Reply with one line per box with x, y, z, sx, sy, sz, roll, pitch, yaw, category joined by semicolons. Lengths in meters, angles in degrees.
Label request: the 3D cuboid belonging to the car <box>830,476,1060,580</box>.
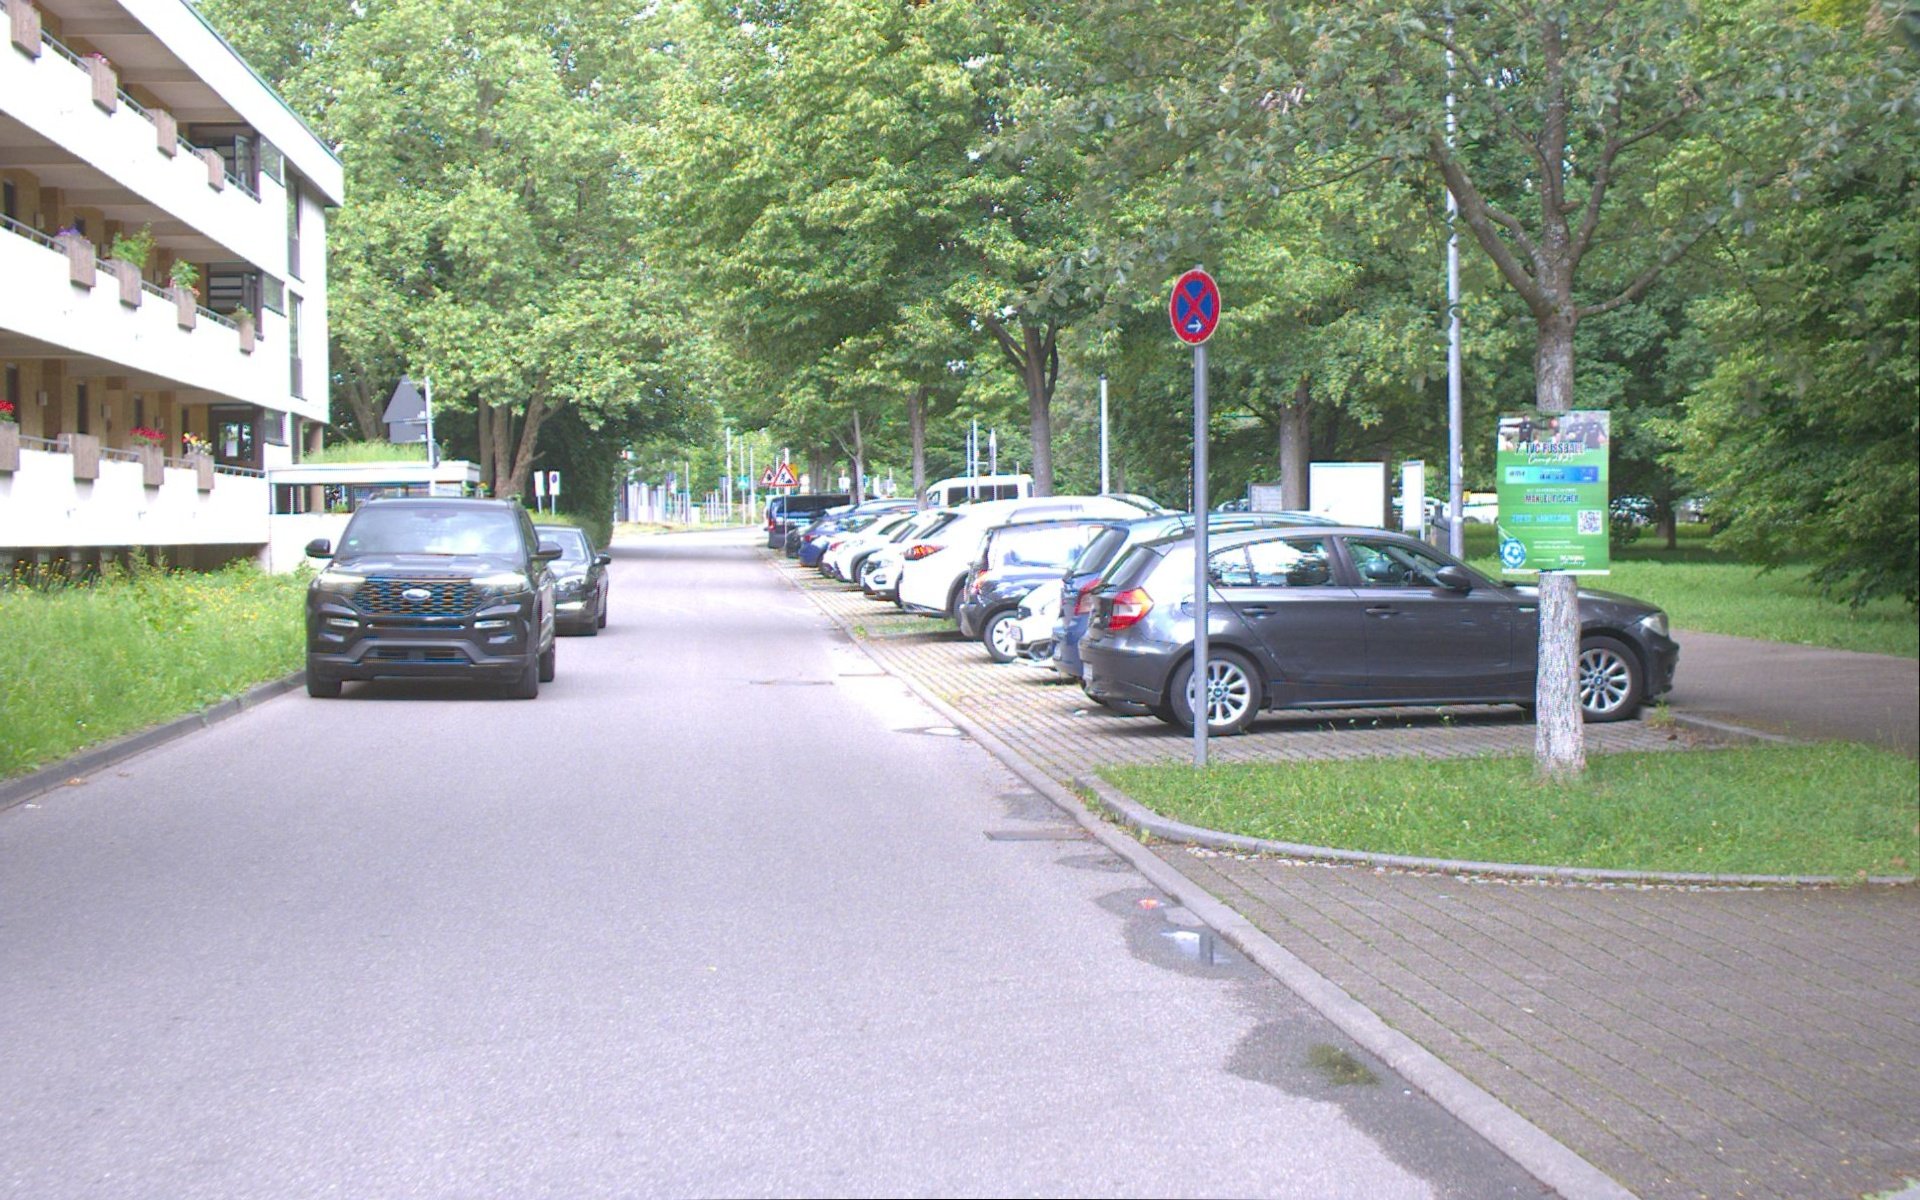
-0.311;-1.372;65.313;4.062;1.681;1.823;-4;2;-7;car

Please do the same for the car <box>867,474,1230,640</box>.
1.041;-0.539;41.624;4.062;1.681;1.823;-4;2;-7;car

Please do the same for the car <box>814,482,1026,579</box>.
-0.839;-1.439;70.796;4.062;1.681;1.823;-4;2;-7;car

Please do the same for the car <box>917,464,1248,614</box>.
1.598;-0.829;45.782;4.062;1.681;1.823;-4;2;-7;car

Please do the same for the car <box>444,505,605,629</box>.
-5.742;-0.478;45.765;1.968;1.570;4.339;0;1;-5;car

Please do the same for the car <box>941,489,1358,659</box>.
1.972;-0.297;36.440;4.062;1.483;1.823;-4;2;-7;car

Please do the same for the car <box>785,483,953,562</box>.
-2.377;-2.022;89.143;4.062;1.764;1.823;-4;2;-7;car

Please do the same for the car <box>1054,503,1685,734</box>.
2.813;0.120;24.258;4.062;1.429;2.000;-2;0;-5;car

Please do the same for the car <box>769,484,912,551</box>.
-3.639;-2.507;104.359;4.062;1.764;1.823;-4;2;-7;car

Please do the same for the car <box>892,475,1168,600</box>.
1.088;-1.008;54.748;4.062;1.681;1.823;-4;2;-7;car

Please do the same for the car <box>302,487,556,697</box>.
-4.661;-0.119;30.707;1.968;1.741;4.339;0;1;-5;car

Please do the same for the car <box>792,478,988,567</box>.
-1.568;-1.731;76.210;4.062;1.681;1.823;-4;2;-7;car

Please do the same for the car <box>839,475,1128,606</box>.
0.330;-0.911;52.121;4.062;1.681;1.823;-4;2;-7;car

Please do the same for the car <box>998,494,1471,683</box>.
2.477;-0.134;31.675;4.062;1.563;1.823;-2;2;-5;car

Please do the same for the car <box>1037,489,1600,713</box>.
2.742;0.006;26.871;4.062;1.563;1.823;-2;0;-5;car
